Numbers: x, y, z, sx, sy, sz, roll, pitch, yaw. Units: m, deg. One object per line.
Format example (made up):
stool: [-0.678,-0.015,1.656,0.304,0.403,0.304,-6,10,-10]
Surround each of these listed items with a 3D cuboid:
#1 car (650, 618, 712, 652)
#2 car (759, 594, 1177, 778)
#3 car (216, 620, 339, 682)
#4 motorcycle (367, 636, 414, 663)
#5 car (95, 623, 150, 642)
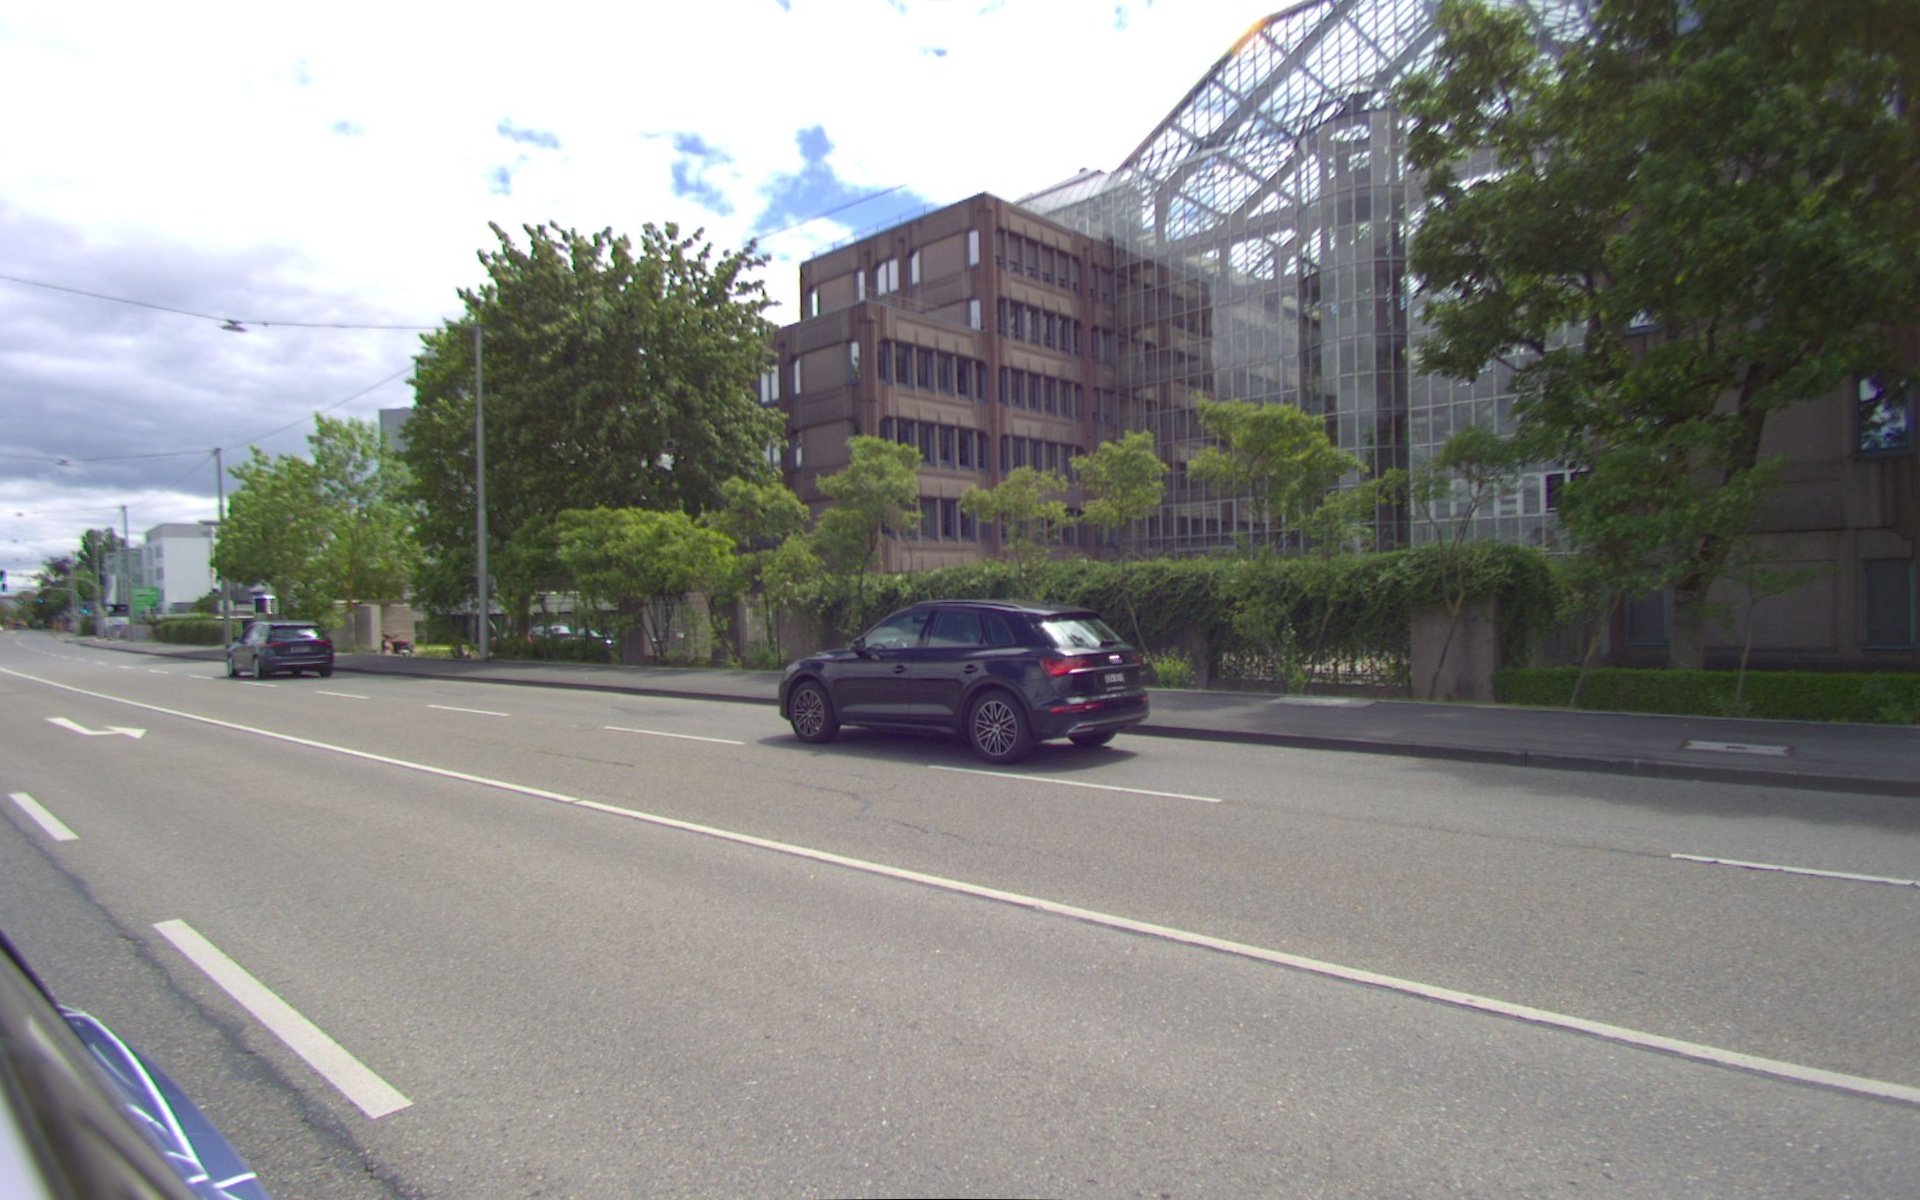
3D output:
car: [-17.660,2.159,63.943,4.000,2.042,1.907,-1,0,43]
car: [-0.085,0.785,11.262,4.570,1.627,1.848,-1,0,42]
car: [-19.084,1.367,28.226,4.310,1.597,1.778,-1,-2,41]
motorcycle: [-28.558,2.451,50.773,0.745,1.254,1.881,-1,0,40]
car: [-77.669,3.029,93.888,1.835,1.623,3.752,-2,-1,41]
